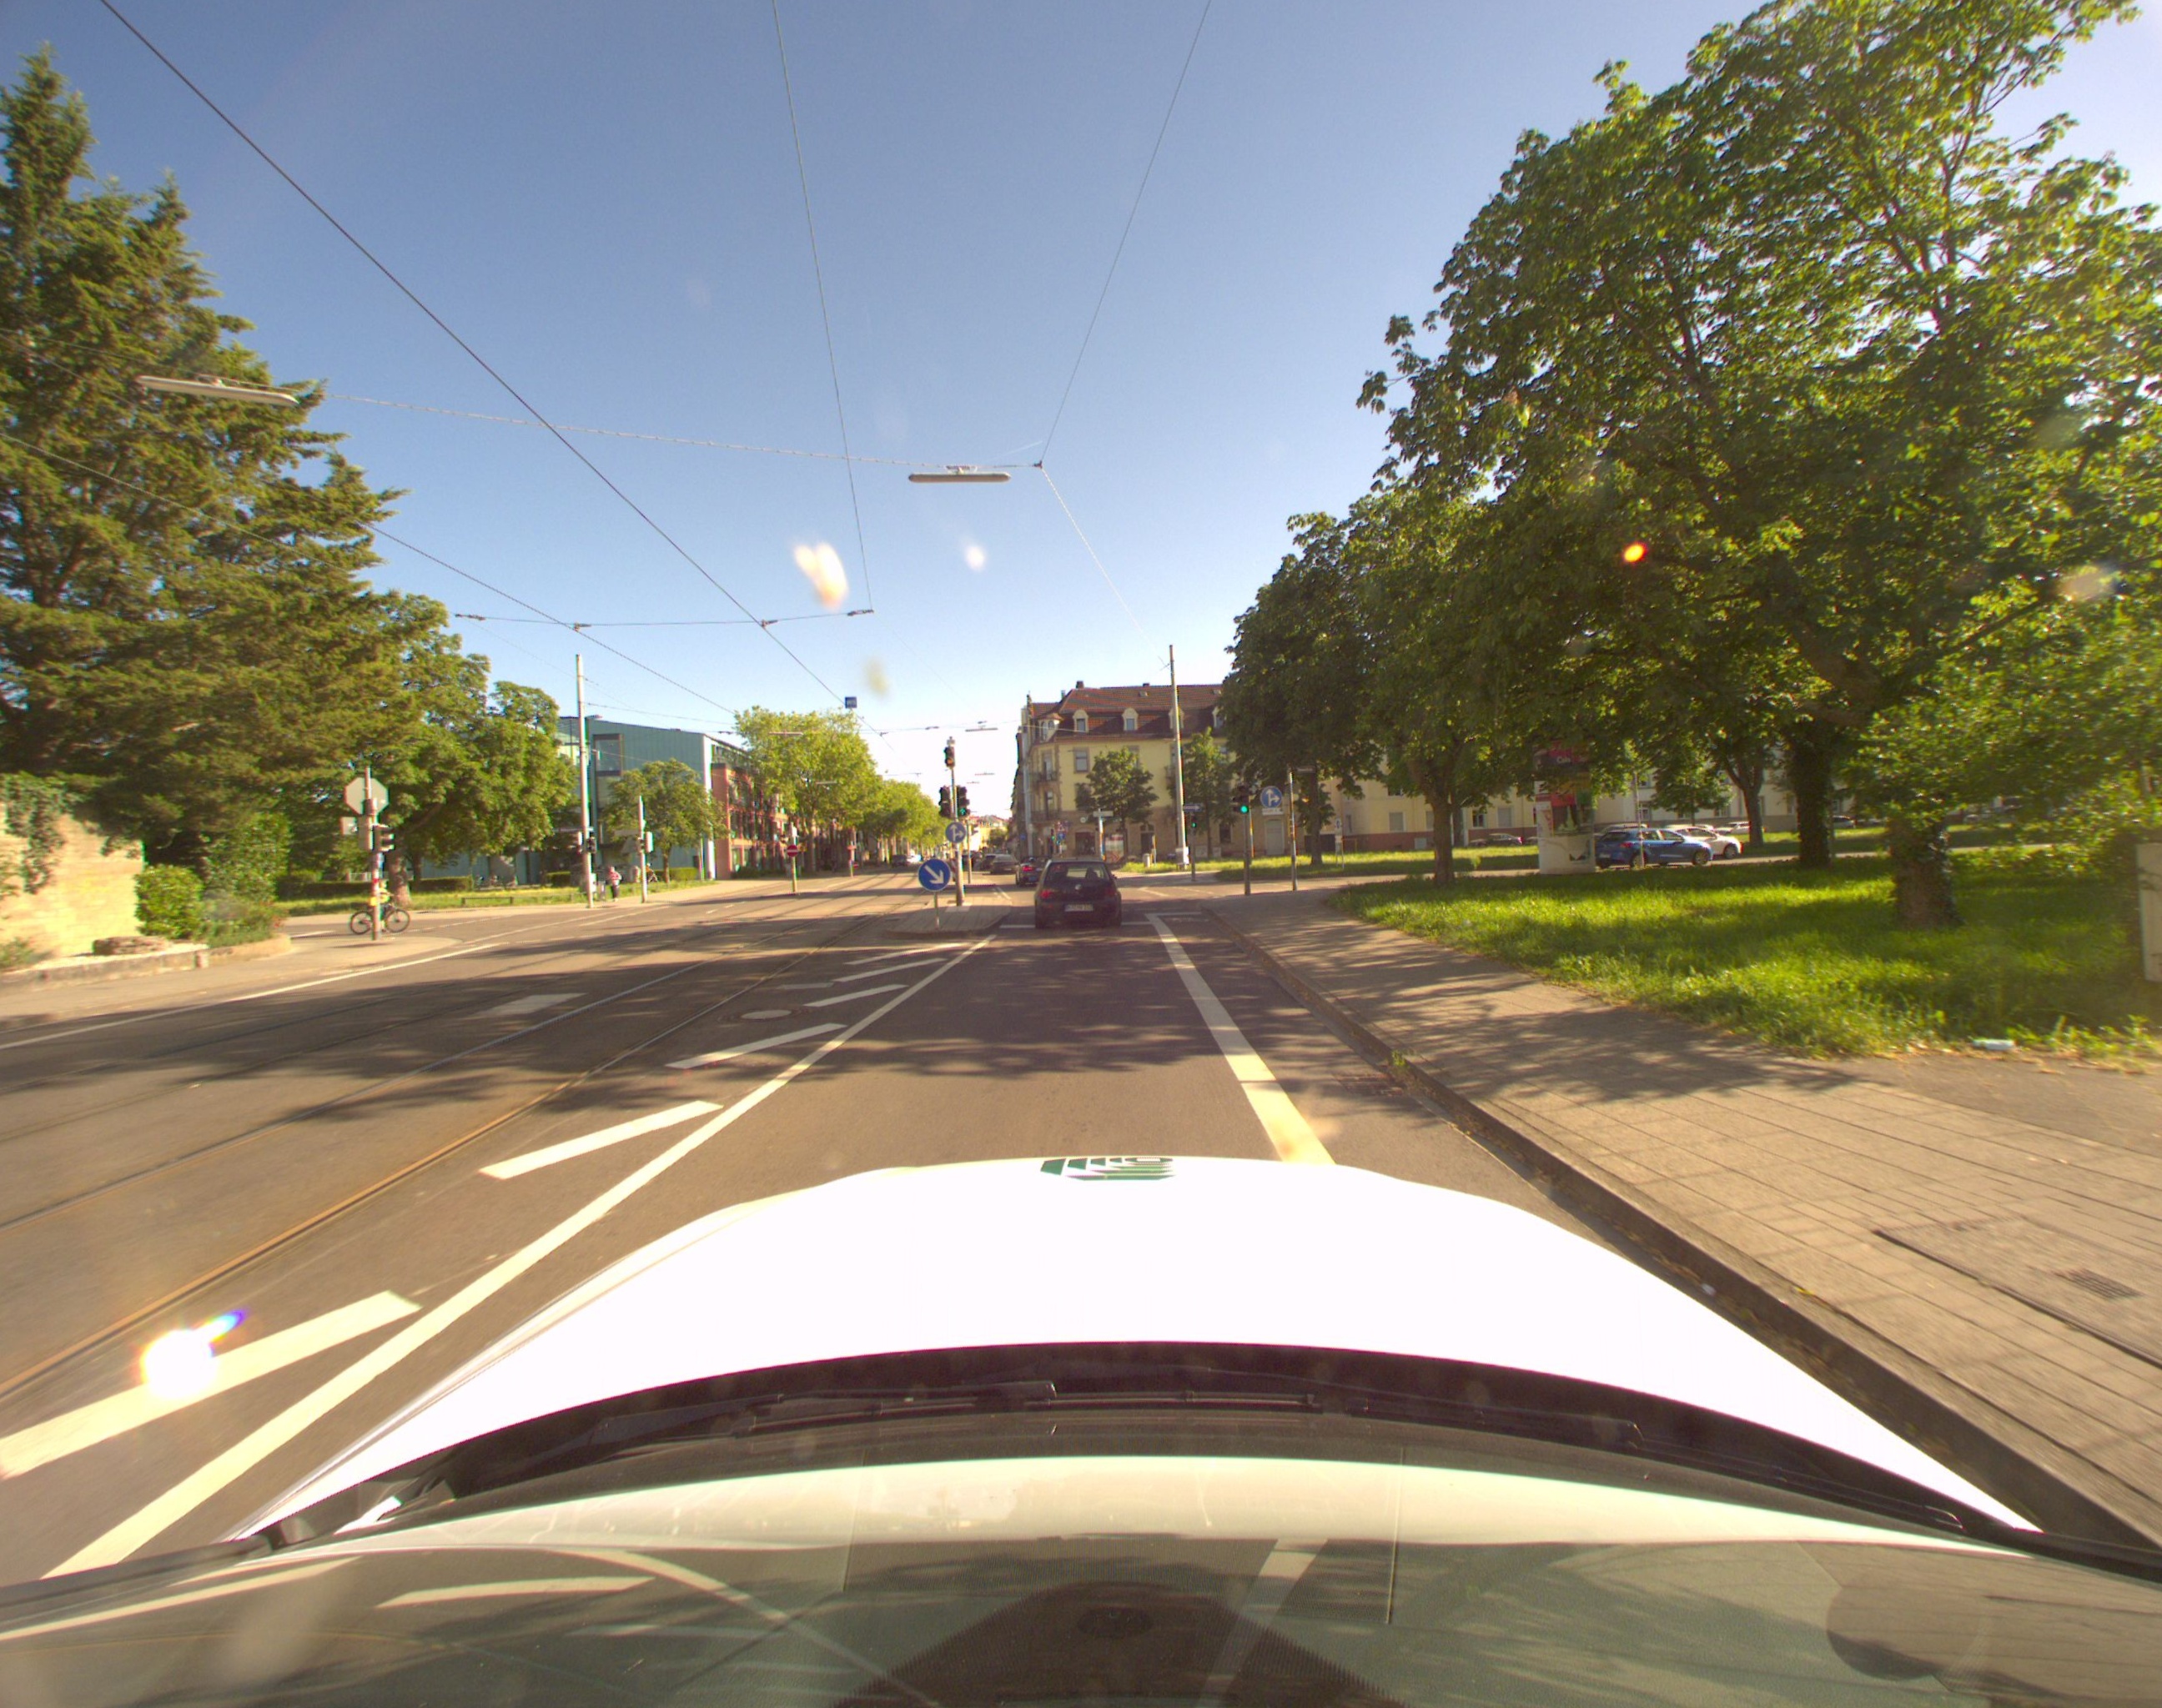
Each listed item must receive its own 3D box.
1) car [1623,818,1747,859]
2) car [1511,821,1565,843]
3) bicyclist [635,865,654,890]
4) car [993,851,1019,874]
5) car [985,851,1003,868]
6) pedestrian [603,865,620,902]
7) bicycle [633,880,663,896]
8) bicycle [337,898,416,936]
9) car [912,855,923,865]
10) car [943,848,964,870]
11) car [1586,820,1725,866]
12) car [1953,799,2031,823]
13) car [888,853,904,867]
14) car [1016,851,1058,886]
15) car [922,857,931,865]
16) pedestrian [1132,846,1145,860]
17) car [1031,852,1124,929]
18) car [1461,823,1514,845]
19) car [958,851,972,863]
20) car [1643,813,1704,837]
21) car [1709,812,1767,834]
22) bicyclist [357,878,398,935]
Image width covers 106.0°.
[{"bbox_3d":[24.499,-0.639,33.124,3.788,1.441,1.744,-3,0,-3],"label":"car"},{"bbox_3d":[41.656,-2.015,74.344,3.949,1.815,1.758,-3,0,-4],"label":"car"},{"bbox_3d":[-33.722,1.796,62.915,1.110,1.884,0.445,-3,0,-42],"label":"bicyclist"},{"bbox_3d":[-5.260,0.564,56.839,1.569,1.311,3.637,-3,3,-8],"label":"car"},{"bbox_3d":[-7.997,0.474,74.768,1.569,1.311,3.492,-3,3,-7],"label":"car"},{"bbox_3d":[-21.803,1.342,37.795,0.612,1.689,0.727,0,0,-25],"label":"pedestrian"},{"bbox_3d":[-33.486,2.612,63.002,1.928,1.106,0.556,-3,0,-41],"label":"bicycle"},{"bbox_3d":[-21.707,1.946,25.115,1.938,1.015,0.538,-3,0,1],"label":"bicycle"},{"bbox_3d":[-36.287,1.403,180.404,1.992,2.014,3.990,-3,-1,-7],"label":"car"},{"bbox_3d":[-11.569,0.411,74.017,1.786,1.859,3.989,-2,0,-8],"label":"car"},{"bbox_3d":[20.703,-0.403,29.419,3.986,1.448,1.785,-3,0,-9],"label":"car"},{"bbox_3d":[80.040,-3.796,71.575,4.807,1.815,1.991,-3,0,-3],"label":"car"},{"bbox_3d":[-26.547,0.845,117.160,1.972,1.815,4.281,-3,0,-10],"label":"car"},{"bbox_3d":[-1.948,0.598,35.427,1.632,1.372,3.750,-3,0,-5],"label":"car"},{"bbox_3d":[-40.649,1.816,214.572,1.992,2.014,3.990,-3,-1,-7],"label":"car"},{"bbox_3d":[5.218,-0.093,73.765,0.979,1.187,0.741,-3,0,-7],"label":"pedestrian"},{"bbox_3d":[-0.018,0.688,17.223,1.710,1.402,4.007,-1,0,1],"label":"car"},{"bbox_3d":[36.751,-1.780,73.696,3.949,1.815,1.758,-3,0,-4],"label":"car"},{"bbox_3d":[-14.576,0.356,102.279,1.680,1.453,3.370,-3,0,-8],"label":"car"},{"bbox_3d":[50.248,-2.437,69.123,3.988,1.815,1.758,-3,0,-4],"label":"car"},{"bbox_3d":[61.234,-2.894,75.909,4.090,1.815,1.758,-3,0,-4],"label":"car"},{"bbox_3d":[-21.694,1.599,25.117,0.677,1.685,0.537,-3,0,1],"label":"bicyclist"}]
